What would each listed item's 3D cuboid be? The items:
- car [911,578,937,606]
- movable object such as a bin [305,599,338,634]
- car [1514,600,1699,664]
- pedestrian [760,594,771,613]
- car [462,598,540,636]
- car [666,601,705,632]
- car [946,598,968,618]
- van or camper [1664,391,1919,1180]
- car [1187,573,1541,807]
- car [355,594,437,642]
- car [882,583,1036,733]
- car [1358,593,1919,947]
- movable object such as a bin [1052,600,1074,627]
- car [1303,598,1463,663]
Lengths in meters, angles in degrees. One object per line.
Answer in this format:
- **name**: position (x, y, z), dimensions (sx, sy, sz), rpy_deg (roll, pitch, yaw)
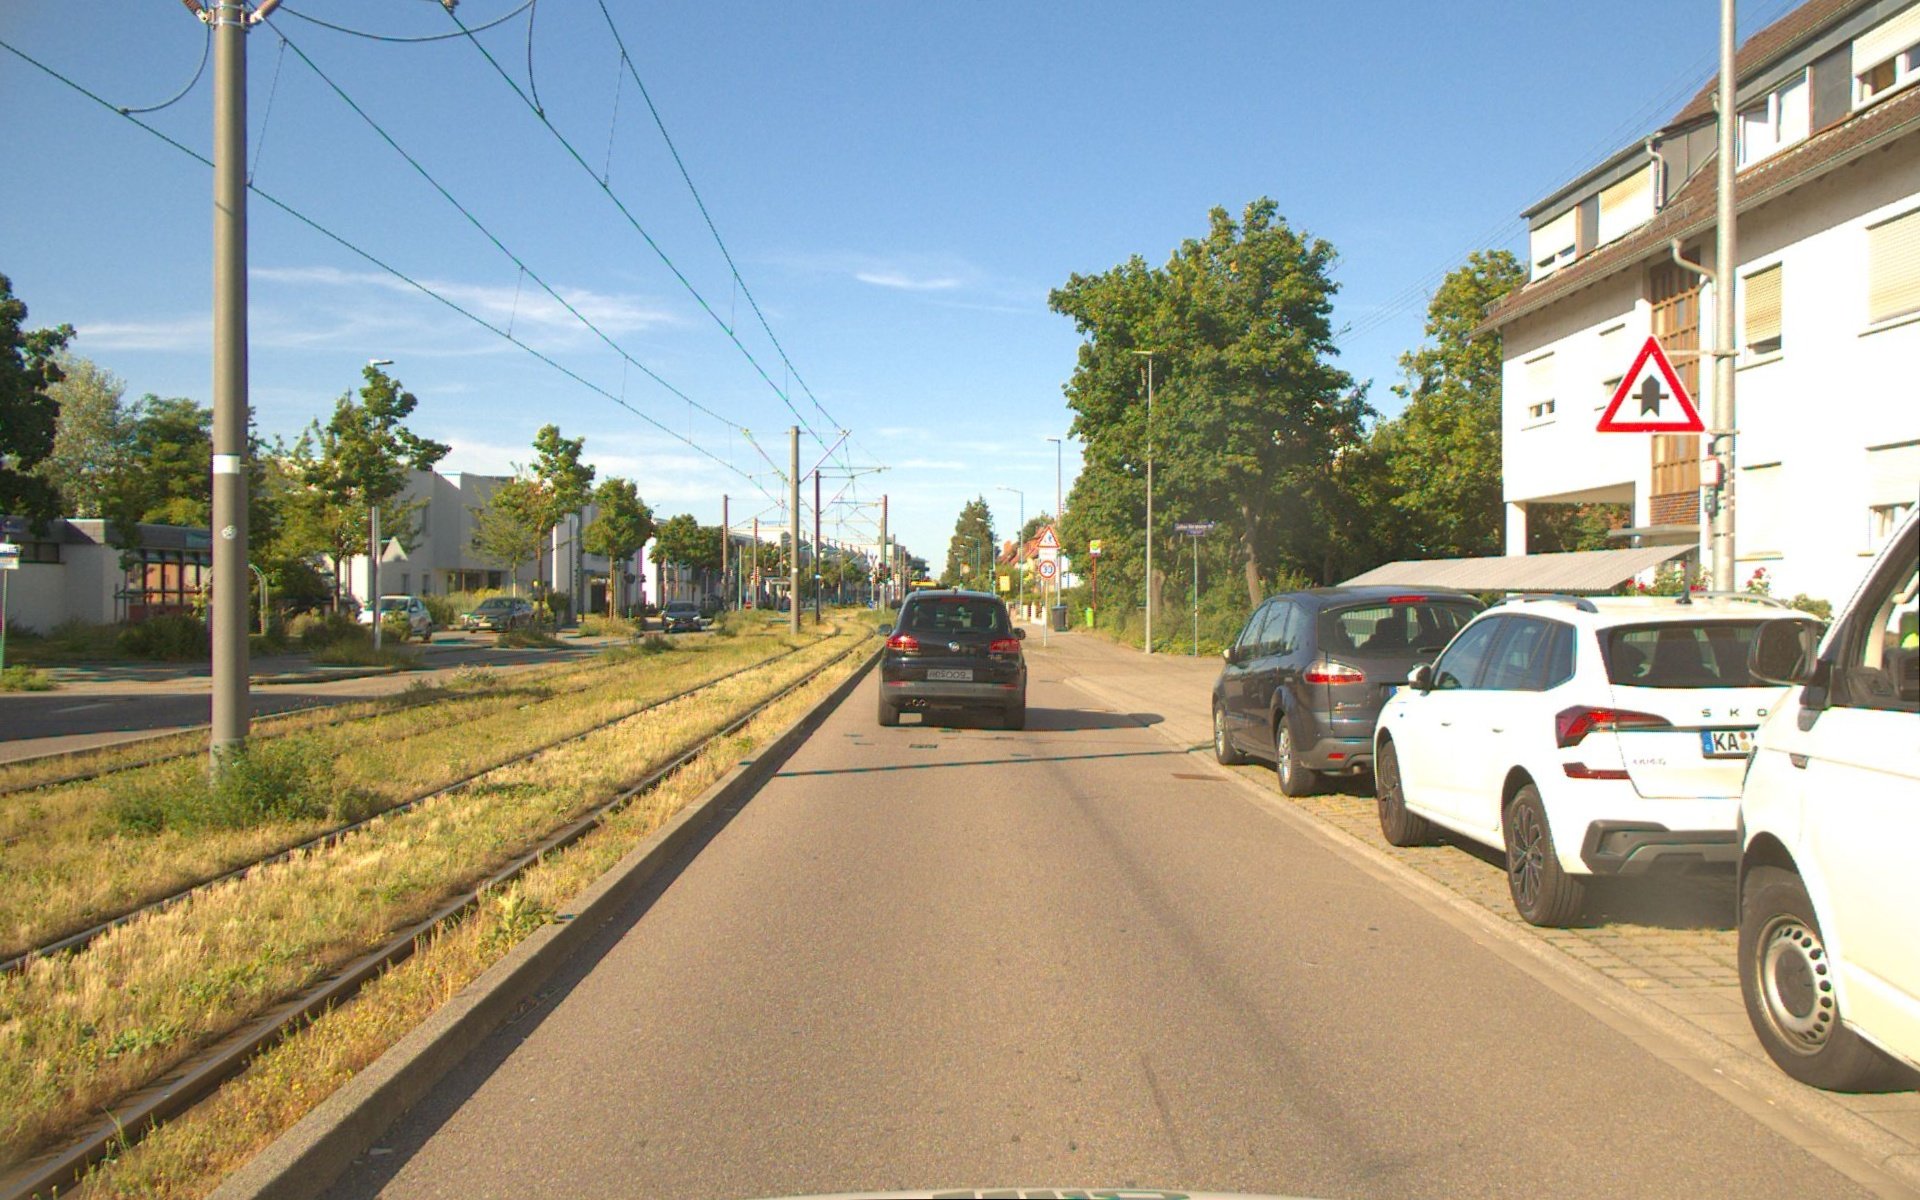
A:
- **car**: position (-3.419, -0.725, 157.794), dimensions (2.345, 2.609, 5.529), rpy_deg (0, 0, 0)
- **movable object such as a bin**: position (-26.285, 0.678, 68.074), dimensions (0.650, 1.407, 1.422), rpy_deg (1, 0, 7)
- **car**: position (15.927, 0.779, 40.866), dimensions (3.920, 1.523, 1.744), rpy_deg (0, 0, 0)
- **pedestrian**: position (-16.613, 0.306, 141.261), dimensions (0.868, 1.614, 0.624), rpy_deg (0, 0, -19)
- **car**: position (-18.859, 0.691, 68.152), dimensions (1.772, 1.486, 4.319), rpy_deg (1, 0, 3)
- **car**: position (-13.234, 0.778, 79.926), dimensions (1.656, 1.413, 4.380), rpy_deg (-2, 0, -8)
- **car**: position (-0.309, 0.713, 146.249), dimensions (1.740, 1.699, 3.998), rpy_deg (0, 0, -3)
- **van or camper**: position (3.339, 0.469, 3.503), dimensions (1.985, 1.990, 5.299), rpy_deg (0, 0, 7)
- **car**: position (3.332, 0.670, 14.686), dimensions (1.755, 1.657, 4.859), rpy_deg (-2, 0, -2)
- **car**: position (-18.656, 0.577, 54.849), dimensions (1.513, 1.517, 3.773), rpy_deg (1, 0, -2)
- **car**: position (-0.101, 0.678, 21.257), dimensions (1.740, 1.699, 3.998), rpy_deg (1, 0, -3)
- **car**: position (3.520, 0.742, 9.261), dimensions (1.622, 1.518, 4.160), rpy_deg (-1, 0, 1)
- **movable object such as a bin**: position (4.477, 0.582, 71.942), dimensions (0.955, 1.130, 1.171), rpy_deg (0, 0, 2)
- **car**: position (10.399, 0.746, 40.811), dimensions (3.520, 1.557, 1.647), rpy_deg (0, -1, 0)
